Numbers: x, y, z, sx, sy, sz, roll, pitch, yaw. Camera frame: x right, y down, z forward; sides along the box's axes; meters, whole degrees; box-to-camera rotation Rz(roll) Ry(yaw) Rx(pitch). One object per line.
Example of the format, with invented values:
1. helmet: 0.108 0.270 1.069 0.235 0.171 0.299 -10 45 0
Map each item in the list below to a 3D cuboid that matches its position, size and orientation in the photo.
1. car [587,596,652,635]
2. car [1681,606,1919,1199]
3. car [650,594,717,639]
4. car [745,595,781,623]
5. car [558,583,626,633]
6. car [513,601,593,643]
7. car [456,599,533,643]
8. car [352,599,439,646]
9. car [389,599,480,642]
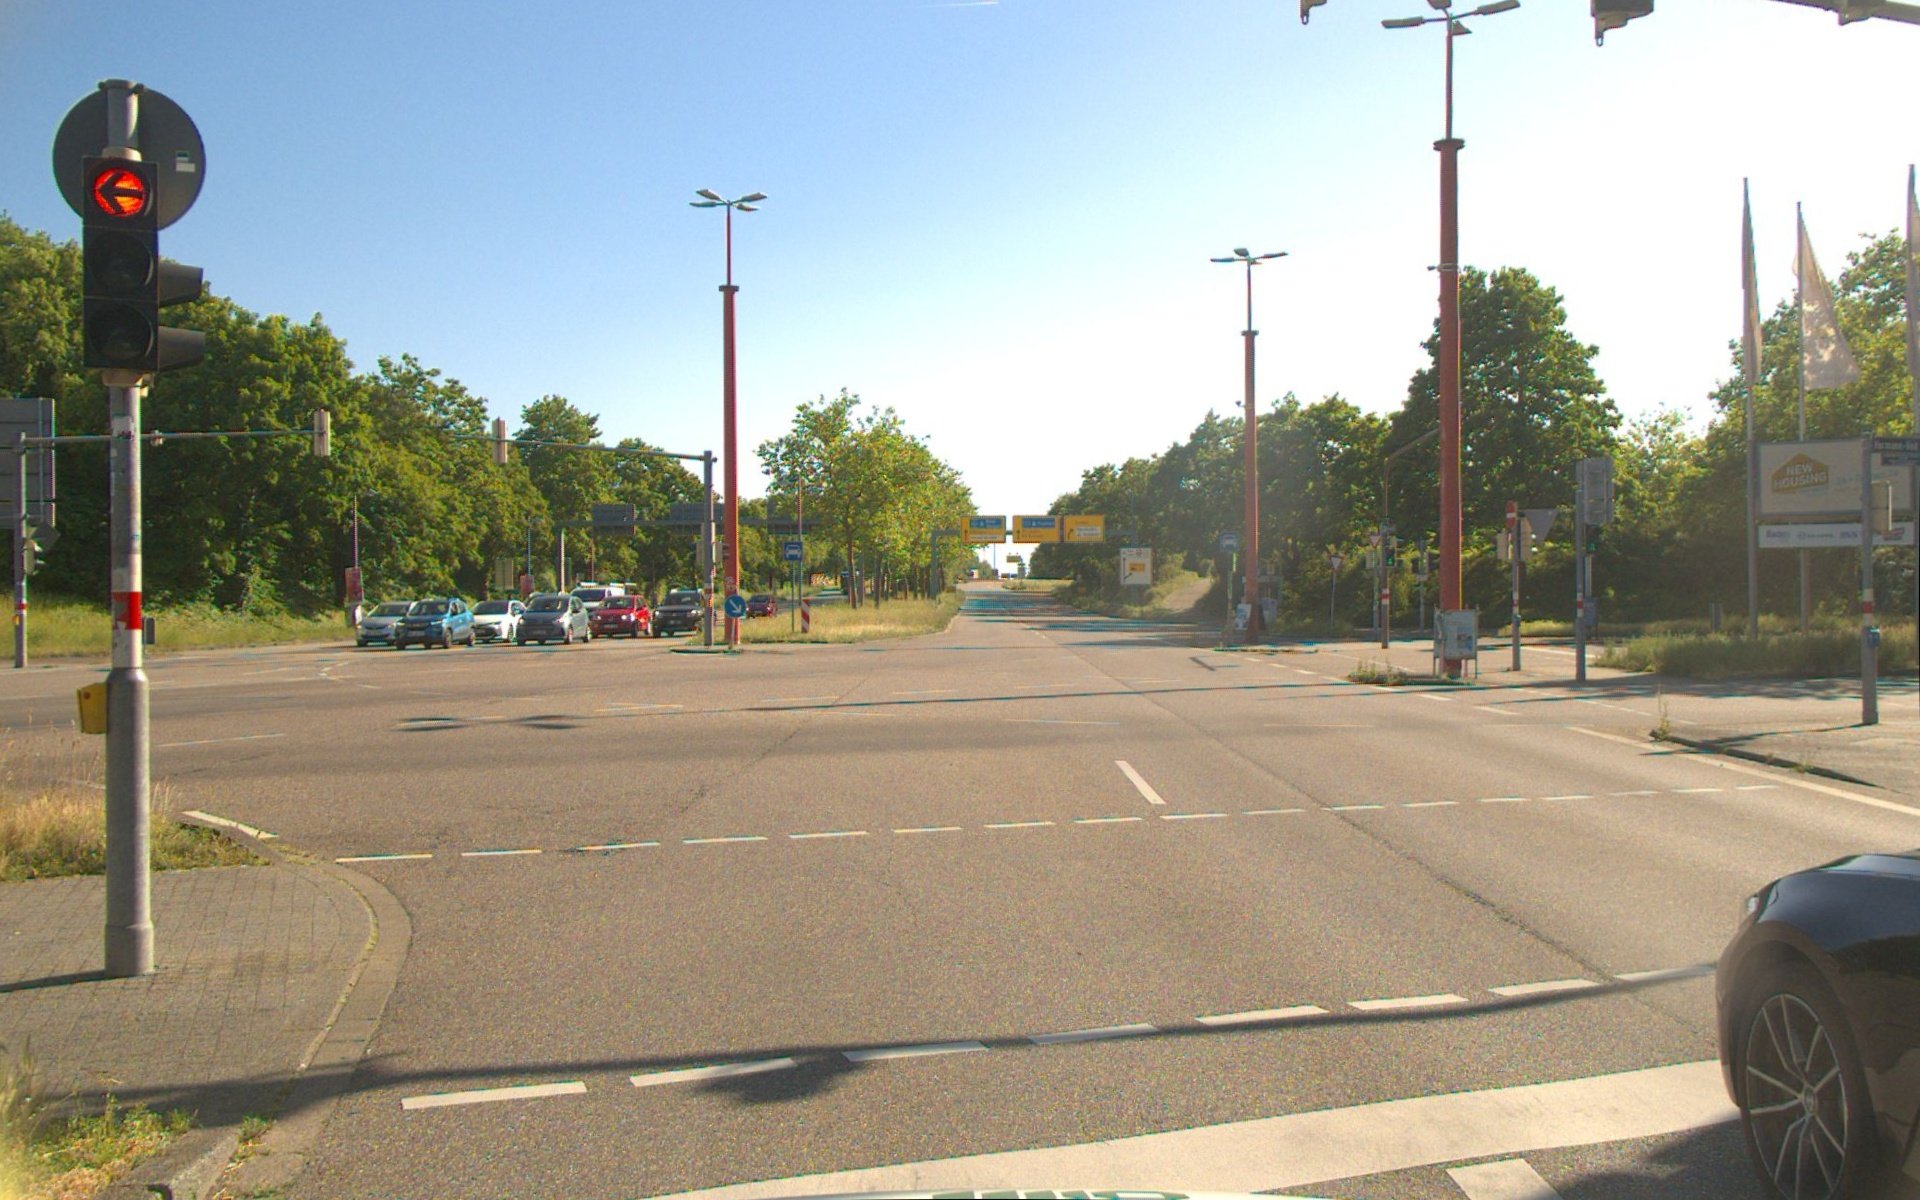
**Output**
1. car: -12.343 0.536 60.117 1.704 1.386 3.611 0 0 -2
2. car: 2.905 0.735 2.362 1.831 1.422 4.443 0 0 0
3. car: -9.810 0.572 58.941 1.782 1.534 3.999 0 0 -1
4. car: -11.917 0.519 100.260 1.782 1.657 3.999 0 0 -1
5. car: -15.585 0.323 70.349 1.855 2.061 5.221 0 0 -2
6. car: -12.672 0.661 51.699 1.704 1.265 3.611 0 0 -2
7. car: -15.929 0.692 56.795 1.704 1.436 3.611 0 0 -2
8. car: -19.383 0.747 56.976 1.725 1.559 3.934 0 0 -2
9. car: -16.053 0.603 50.678 1.704 1.265 3.611 0 0 -2
